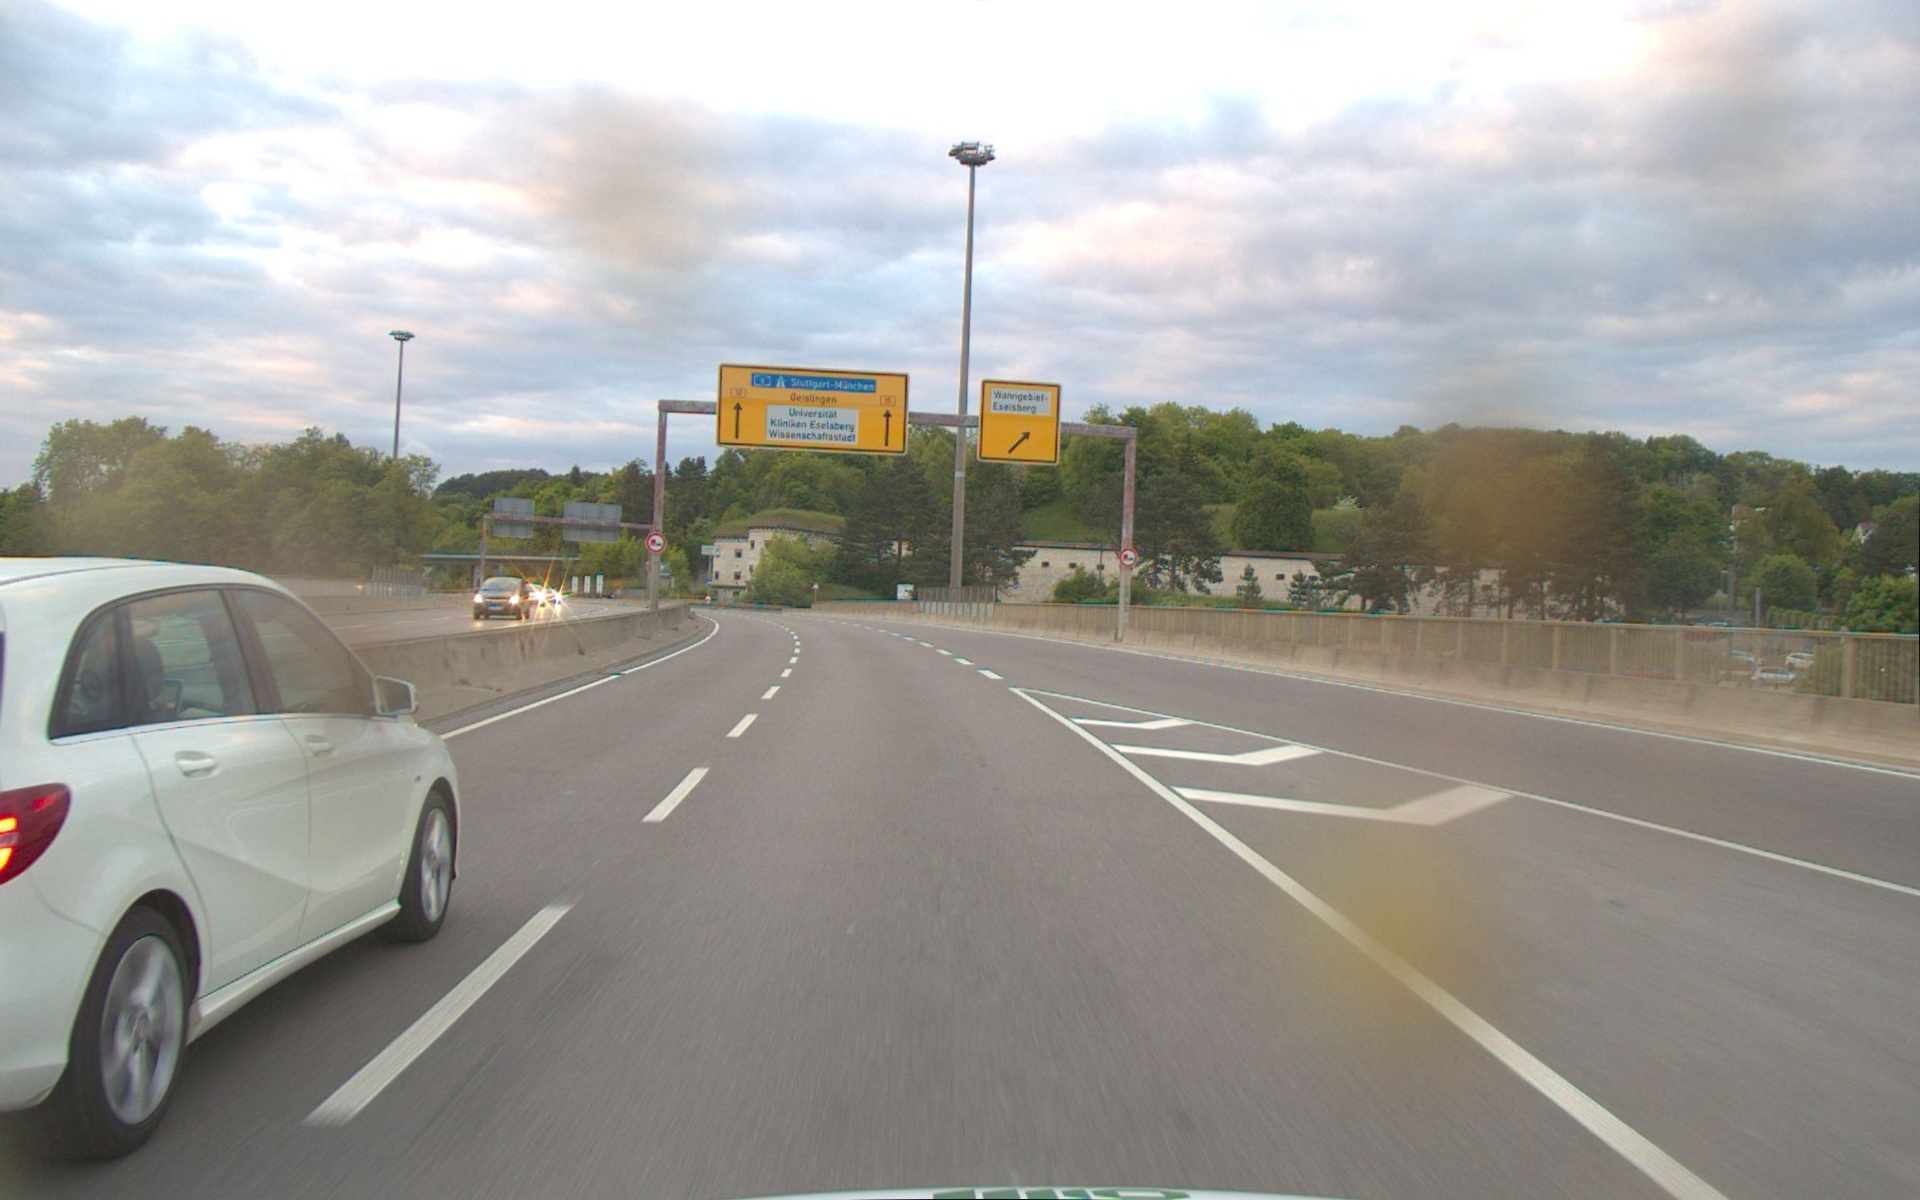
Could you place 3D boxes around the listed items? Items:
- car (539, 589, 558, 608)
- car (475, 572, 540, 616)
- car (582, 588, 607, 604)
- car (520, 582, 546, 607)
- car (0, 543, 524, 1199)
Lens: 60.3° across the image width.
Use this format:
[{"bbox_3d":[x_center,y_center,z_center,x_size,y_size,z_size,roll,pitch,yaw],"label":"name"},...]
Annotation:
[{"bbox_3d":[-38.291,-0.183,153.970,1.638,1.671,3.988,1,1,-12],"label":"car"},{"bbox_3d":[-16.266,-0.228,59.642,1.698,1.502,4.216,1,0,-8],"label":"car"},{"bbox_3d":[-47.212,-0.511,213.417,1.973,1.870,3.958,2,-2,-31],"label":"car"},{"bbox_3d":[-31.162,-0.408,120.835,1.638,1.763,3.988,2,0,-12],"label":"car"},{"bbox_3d":[-2.946,0.649,5.832,1.657,1.564,4.781,1,0,-2],"label":"car"}]
